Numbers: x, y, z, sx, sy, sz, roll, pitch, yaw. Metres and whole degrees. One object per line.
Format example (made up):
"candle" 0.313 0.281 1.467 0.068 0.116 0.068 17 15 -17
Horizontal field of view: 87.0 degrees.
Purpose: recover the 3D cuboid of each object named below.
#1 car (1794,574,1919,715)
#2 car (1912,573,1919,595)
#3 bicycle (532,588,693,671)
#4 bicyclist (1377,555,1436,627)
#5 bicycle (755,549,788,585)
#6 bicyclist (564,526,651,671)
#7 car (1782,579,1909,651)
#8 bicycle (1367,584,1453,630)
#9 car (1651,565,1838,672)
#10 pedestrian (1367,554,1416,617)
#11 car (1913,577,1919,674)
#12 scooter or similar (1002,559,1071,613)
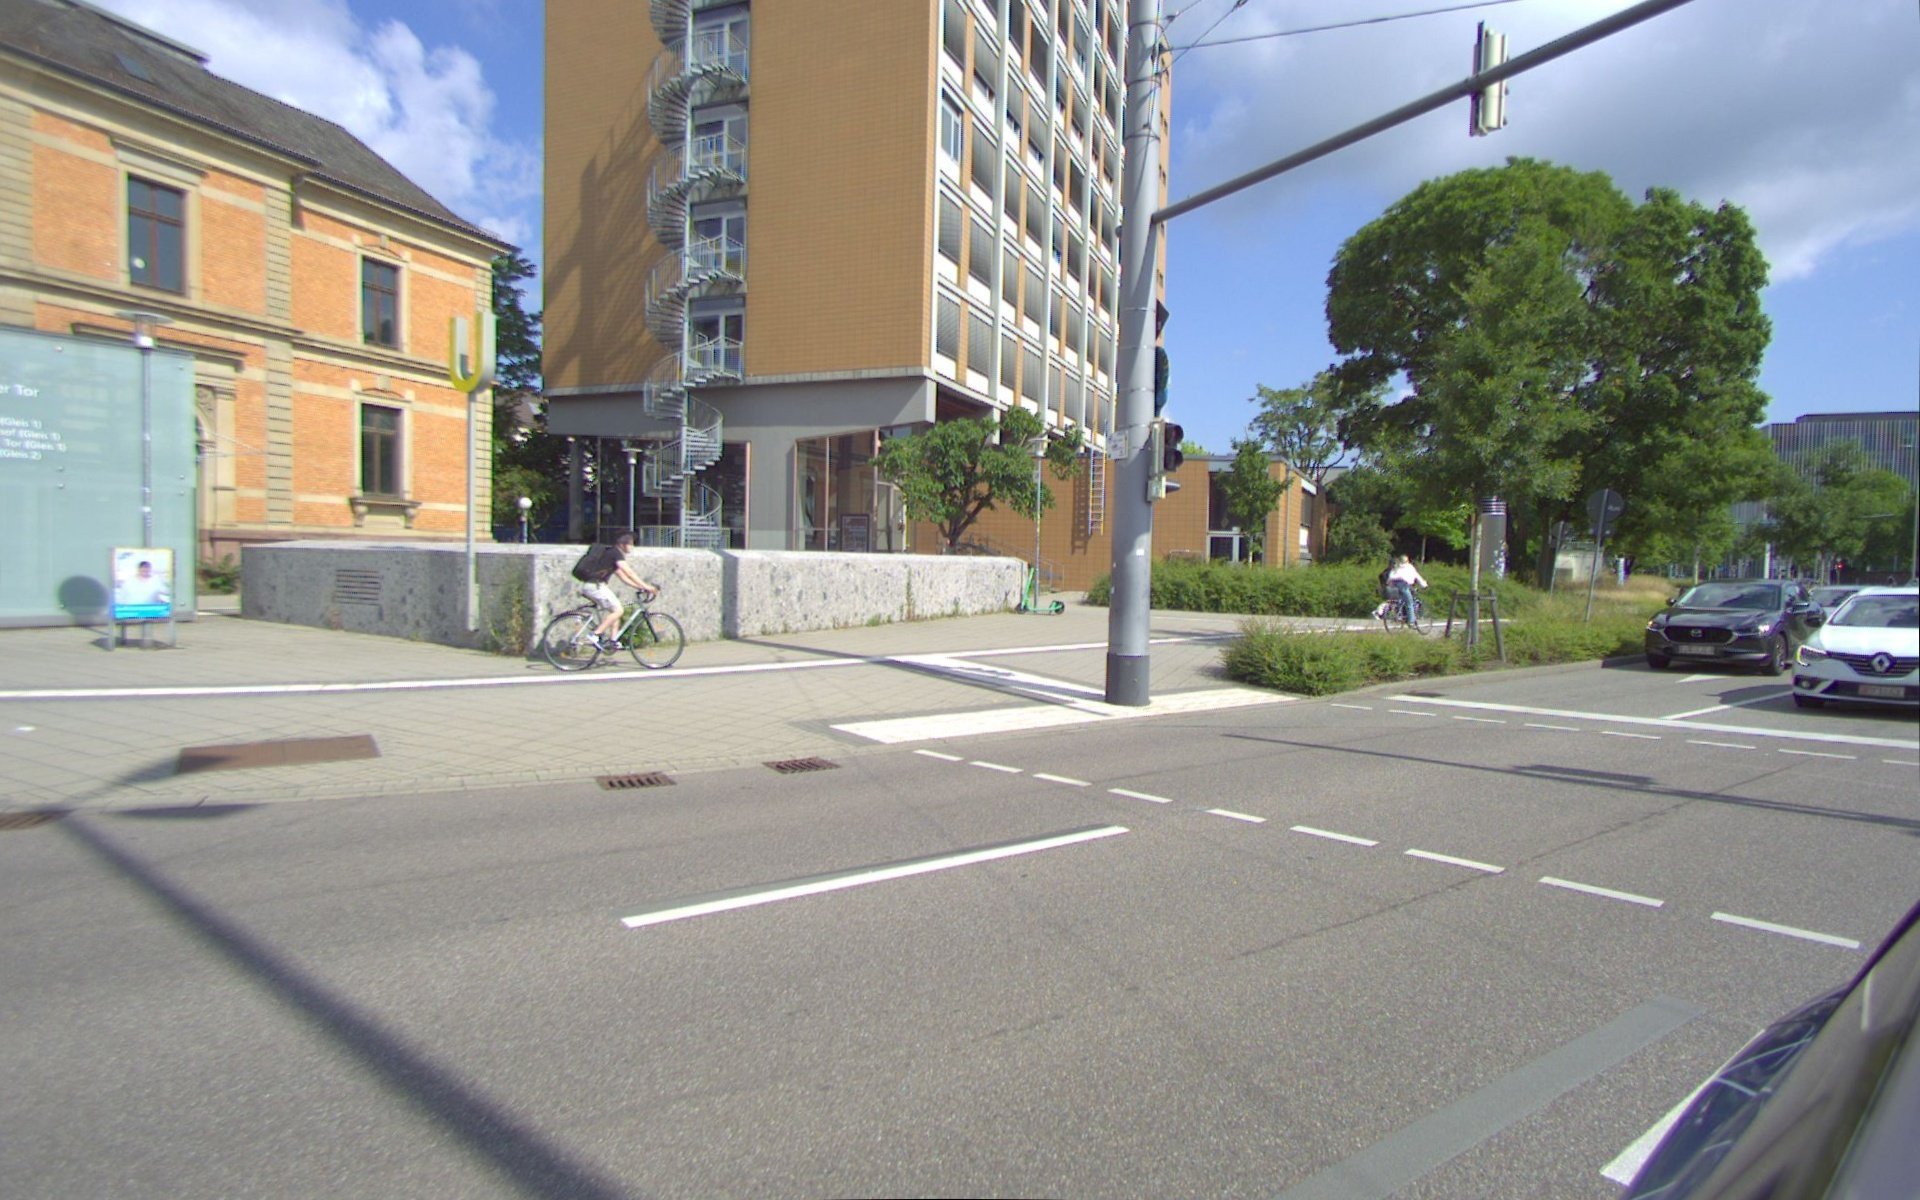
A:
"car" 11.894 0.430 12.279 4.589 1.447 1.762 -2 2 -38
"car" 70.043 -1.112 72.248 1.813 1.544 3.965 2 3 26
"bicycle" -4.218 0.343 12.289 1.771 0.885 0.763 1 4 -25
"bicyclist" 9.361 -0.197 21.211 1.148 1.475 0.636 0 2 -37
"bicycle" -6.638 -1.167 35.676 0.423 1.263 1.464 2 2 22
"bicyclist" -4.264 -0.029 12.228 0.918 1.692 0.580 0 3 -25
"car" 19.332 0.261 22.045 4.008 1.402 1.586 -2 2 -41
"bicycle" 9.498 0.133 21.316 2.234 0.908 0.653 -1 3 -37
"car" 13.310 0.222 17.096 4.137 1.596 1.645 -2 2 -40
"pedestrian" 11.321 -0.398 26.584 0.941 1.597 0.768 1 2 6
"car" 16.670 0.356 16.179 3.993 1.486 1.645 -2 2 -40
"scooter or similar" 1.789 -0.336 23.782 1.508 1.198 0.435 3 2 -1
